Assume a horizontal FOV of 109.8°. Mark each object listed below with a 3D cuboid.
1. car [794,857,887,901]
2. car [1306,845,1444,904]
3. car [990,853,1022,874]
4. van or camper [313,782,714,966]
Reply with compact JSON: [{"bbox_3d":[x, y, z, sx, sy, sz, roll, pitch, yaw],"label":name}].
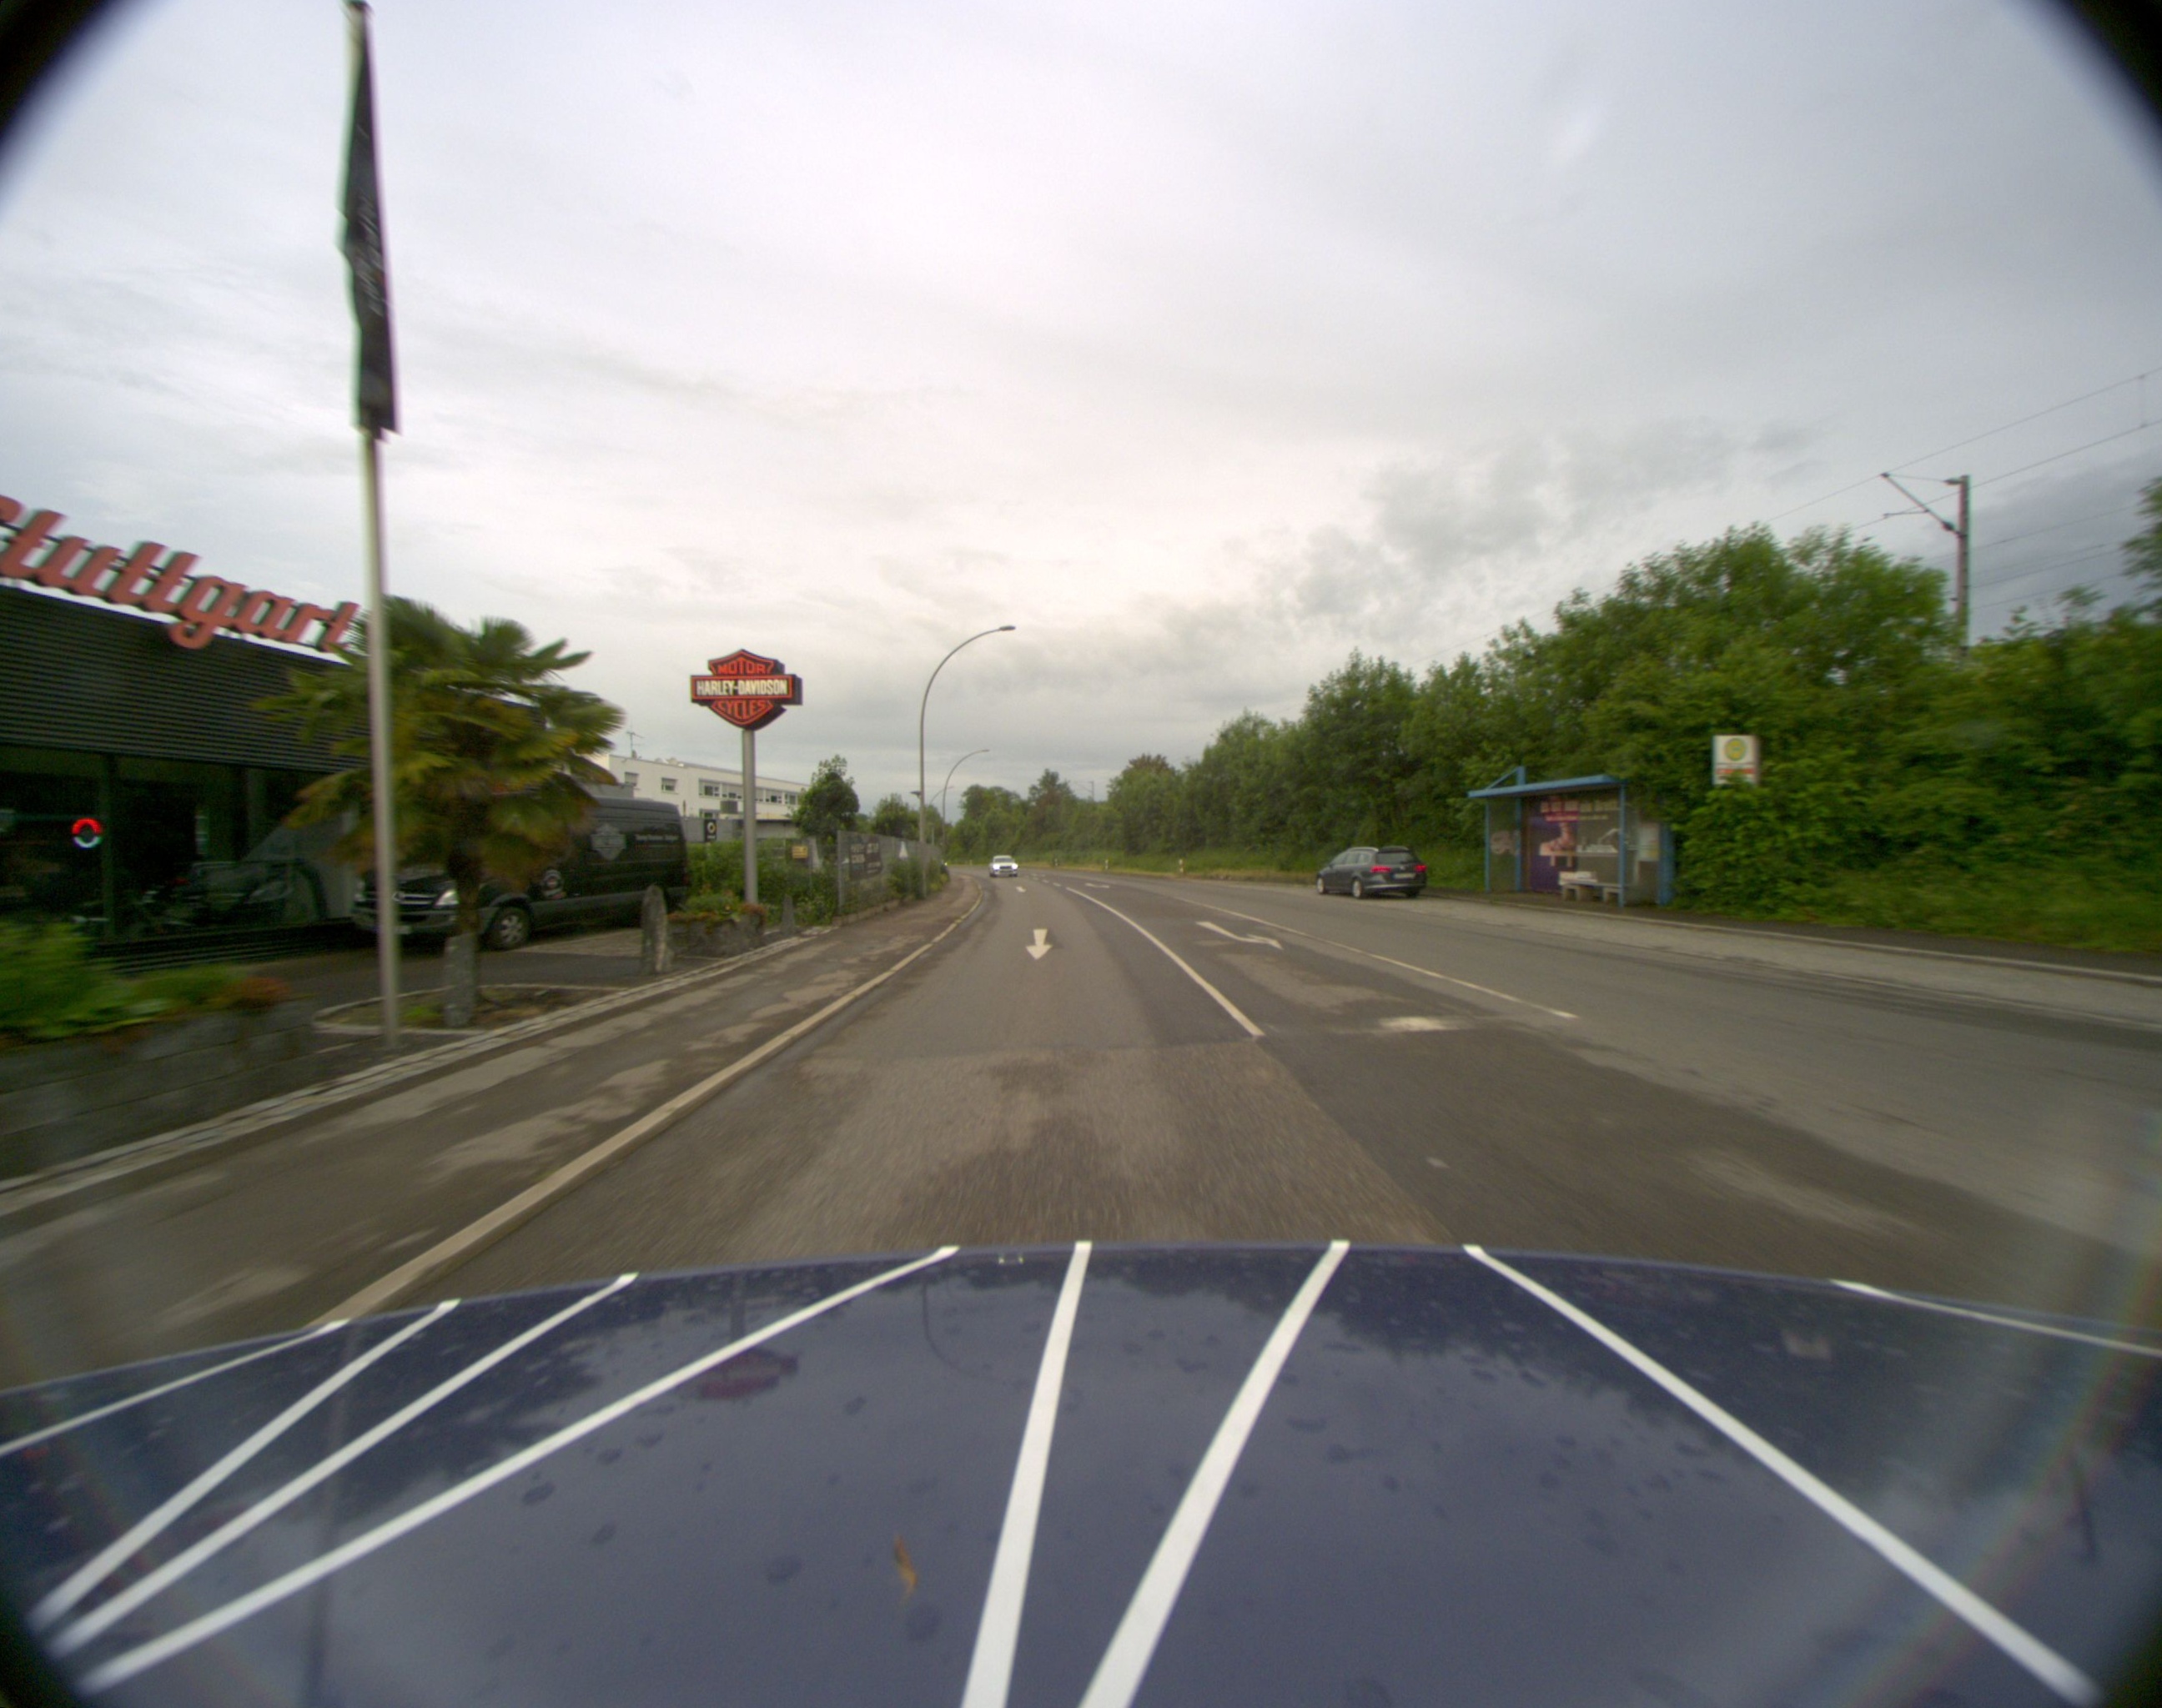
[{"bbox_3d":[-11.718,1.183,37.230,3.998,2.002,1.711,-1,1,-3],"label":"car"},{"bbox_3d":[8.677,0.530,22.968,1.999,1.465,4.697,-3,1,-4],"label":"car"},{"bbox_3d":[-6.012,0.725,60.356,1.850,1.565,3.821,-1,0,-16],"label":"car"},{"bbox_3d":[-9.600,0.270,13.995,2.046,2.578,6.591,-1,0,4],"label":"van or camper"}]
